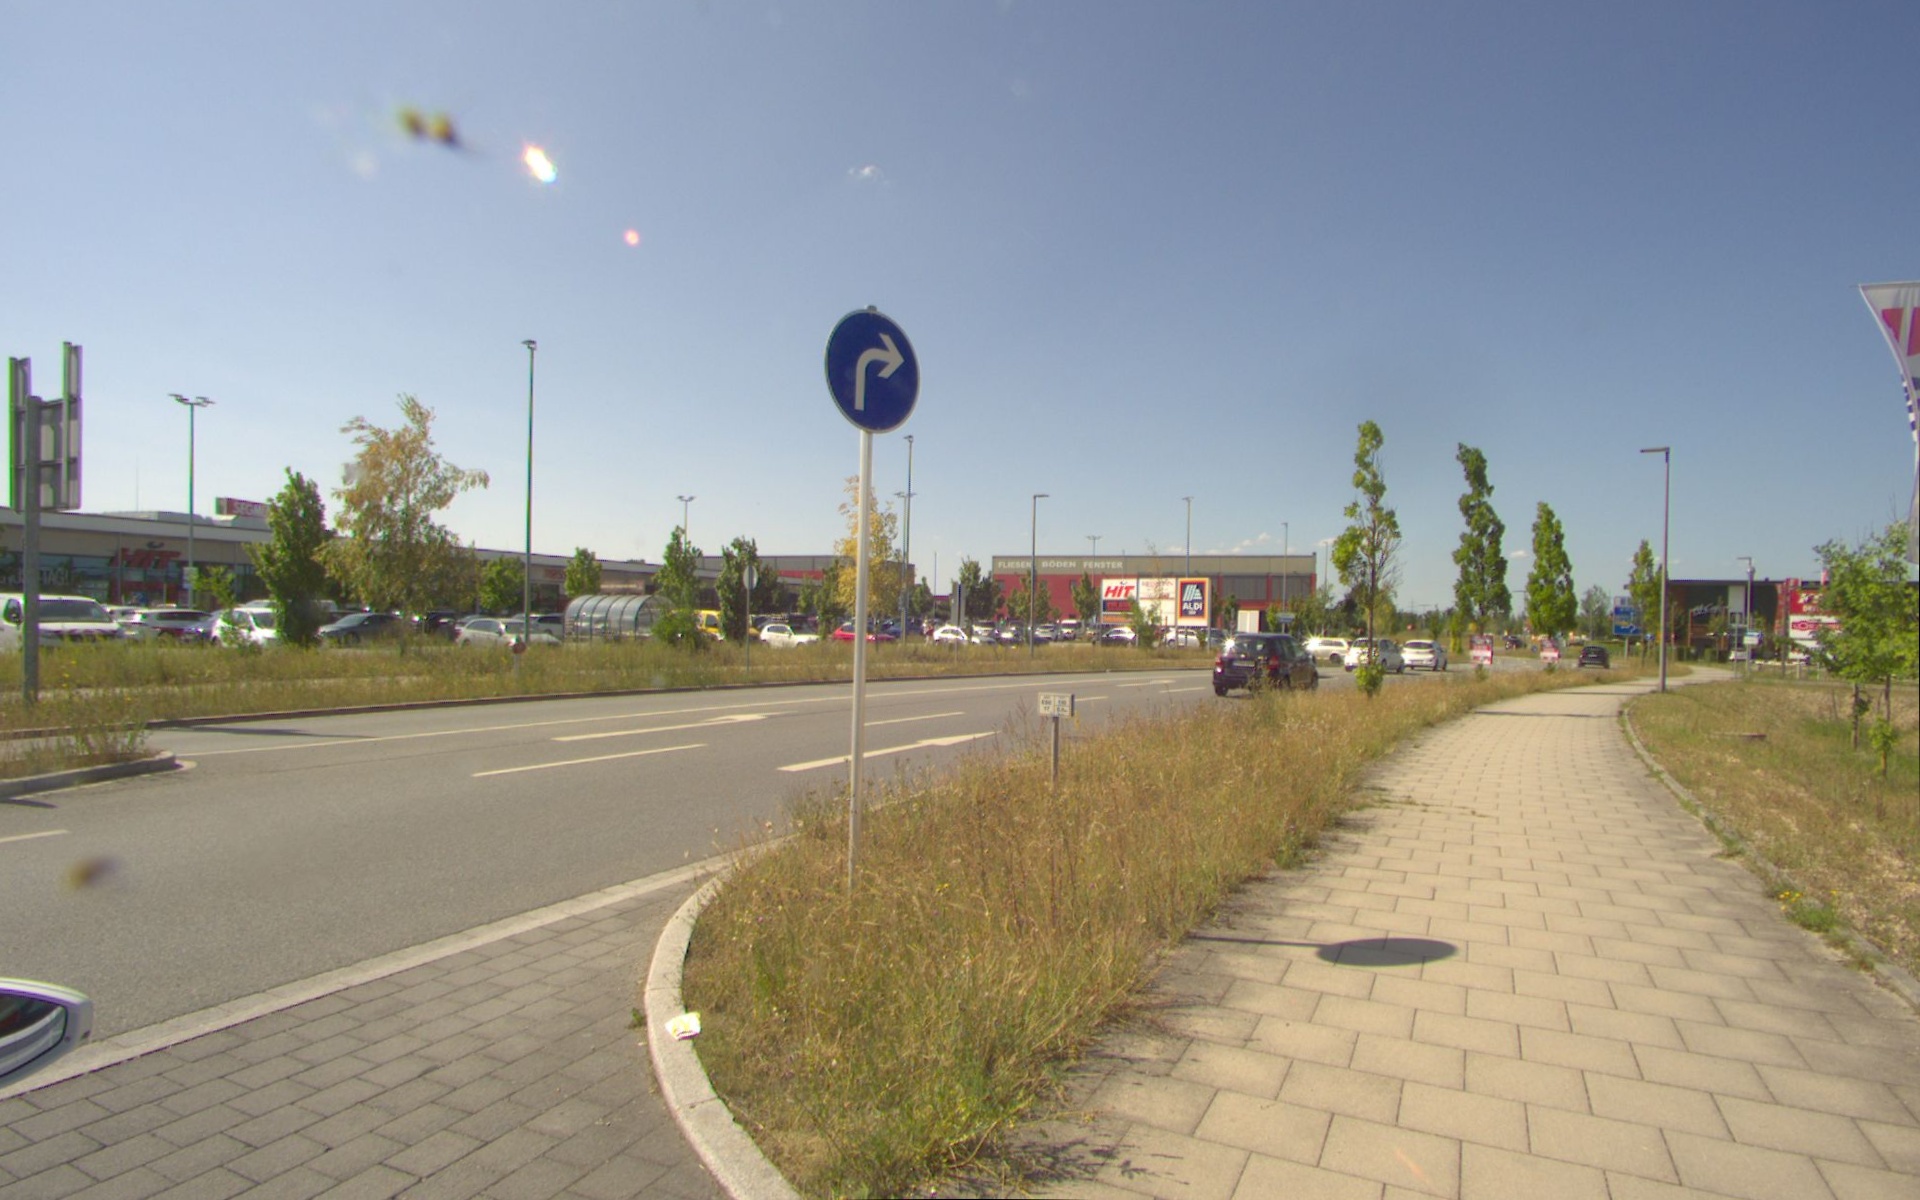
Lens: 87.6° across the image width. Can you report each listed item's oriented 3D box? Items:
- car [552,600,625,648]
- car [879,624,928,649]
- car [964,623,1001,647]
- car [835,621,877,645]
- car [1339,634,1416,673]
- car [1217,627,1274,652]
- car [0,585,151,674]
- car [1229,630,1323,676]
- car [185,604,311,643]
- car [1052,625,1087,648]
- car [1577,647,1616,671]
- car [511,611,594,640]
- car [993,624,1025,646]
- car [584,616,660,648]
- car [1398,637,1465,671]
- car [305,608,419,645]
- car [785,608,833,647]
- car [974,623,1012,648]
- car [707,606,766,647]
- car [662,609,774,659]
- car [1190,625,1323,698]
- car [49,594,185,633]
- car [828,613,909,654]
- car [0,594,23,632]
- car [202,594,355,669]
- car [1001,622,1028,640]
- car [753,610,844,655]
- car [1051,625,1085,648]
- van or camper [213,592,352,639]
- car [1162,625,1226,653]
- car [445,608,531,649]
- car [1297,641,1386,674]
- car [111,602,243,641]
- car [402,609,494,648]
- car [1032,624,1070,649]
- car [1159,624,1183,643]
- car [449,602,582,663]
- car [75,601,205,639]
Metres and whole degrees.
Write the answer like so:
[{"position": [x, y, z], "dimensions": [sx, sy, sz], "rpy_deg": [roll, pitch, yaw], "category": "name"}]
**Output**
[{"position": [-22.980, 1.521, 62.189], "dimensions": [1.963, 2.857, 4.481], "rpy_deg": [1, -1, 15], "category": "car"}, {"position": [-4.155, 2.708, 74.338], "dimensions": [1.965, 1.807, 4.307], "rpy_deg": [0, -2, 21], "category": "car"}, {"position": [2.123, 3.217, 92.207], "dimensions": [1.965, 2.064, 4.476], "rpy_deg": [0, -2, 21], "category": "car"}, {"position": [-9.363, 2.993, 90.764], "dimensions": [1.965, 2.064, 4.476], "rpy_deg": [0, -2, 21], "category": "car"}, {"position": [18.124, 2.292, 43.409], "dimensions": [3.747, 1.571, 1.724], "rpy_deg": [2, -2, -44], "category": "car"}, {"position": [24.792, 3.416, 86.987], "dimensions": [4.421, 2.064, 1.990], "rpy_deg": [0, -2, 33], "category": "car"}, {"position": [-22.881, 0.692, 25.249], "dimensions": [5.148, 2.040, 2.079], "rpy_deg": [1, -1, 29], "category": "car"}, {"position": [11.682, 1.916, 36.826], "dimensions": [1.721, 1.571, 4.536], "rpy_deg": [0, -2, 40], "category": "car"}, {"position": [-27.617, 0.915, 38.972], "dimensions": [1.701, 1.409, 3.726], "rpy_deg": [1, -1, 18], "category": "car"}, {"position": [9.896, 3.276, 90.131], "dimensions": [1.965, 2.064, 4.476], "rpy_deg": [0, -2, 21], "category": "car"}, {"position": [44.706, 4.119, 70.267], "dimensions": [1.890, 1.571, 4.359], "rpy_deg": [0, -2, 38], "category": "car"}, {"position": [-22.430, 1.418, 55.255], "dimensions": [1.627, 1.539, 4.340], "rpy_deg": [0, -2, 23], "category": "car"}, {"position": [4.959, 3.520, 100.814], "dimensions": [1.965, 2.064, 4.476], "rpy_deg": [0, -2, 21], "category": "car"}, {"position": [-20.492, 1.959, 60.948], "dimensions": [1.965, 1.887, 4.476], "rpy_deg": [0, -2, 21], "category": "car"}, {"position": [23.437, 2.665, 49.685], "dimensions": [1.923, 1.571, 4.727], "rpy_deg": [0, -2, 39], "category": "car"}, {"position": [-26.309, 1.170, 44.167], "dimensions": [1.843, 1.527, 3.991], "rpy_deg": [0, -2, 23], "category": "car"}, {"position": [-11.525, 2.140, 76.768], "dimensions": [1.963, 2.857, 4.481], "rpy_deg": [1, -1, 15], "category": "car"}, {"position": [2.883, 3.072, 87.002], "dimensions": [1.965, 2.064, 4.476], "rpy_deg": [0, -2, 21], "category": "car"}, {"position": [-16.062, 1.931, 72.196], "dimensions": [1.965, 2.857, 4.476], "rpy_deg": [0, -1, 21], "category": "car"}, {"position": [-10.800, 1.465, 44.508], "dimensions": [5.051, 2.040, 2.150], "rpy_deg": [1, -1, 38], "category": "car"}, {"position": [7.294, 1.433, 24.405], "dimensions": [1.973, 1.570, 3.820], "rpy_deg": [1, -1, 35], "category": "car"}, {"position": [-39.099, 0.658, 46.568], "dimensions": [1.843, 1.727, 4.474], "rpy_deg": [0, -2, 24], "category": "car"}, {"position": [-4.813, 1.736, 52.401], "dimensions": [4.089, 2.039, 1.869], "rpy_deg": [1, -1, 40], "category": "car"}, {"position": [-45.176, 0.567, 45.859], "dimensions": [3.934, 1.729, 1.994], "rpy_deg": [1, -1, 25], "category": "car"}, {"position": [-20.329, 0.873, 29.797], "dimensions": [5.047, 2.040, 2.152], "rpy_deg": [1, -1, 36], "category": "car"}, {"position": [6.754, 3.840, 124.021], "dimensions": [1.965, 2.064, 4.476], "rpy_deg": [0, -2, 21], "category": "car"}, {"position": [-7.877, 1.569, 48.615], "dimensions": [4.355, 2.039, 1.931], "rpy_deg": [1, -1, 38], "category": "car"}, {"position": [9.772, 3.275, 90.165], "dimensions": [1.965, 2.064, 4.476], "rpy_deg": [0, -2, 21], "category": "car"}, {"position": [-31.193, 0.710, 46.297], "dimensions": [1.966, 2.040, 5.039], "rpy_deg": [1, -1, 23], "category": "van or camper"}, {"position": [18.369, 3.063, 78.635], "dimensions": [4.421, 2.064, 1.990], "rpy_deg": [0, -2, 33], "category": "car"}, {"position": [-26.926, 1.630, 57.269], "dimensions": [1.963, 2.219, 4.481], "rpy_deg": [1, -2, 15], "category": "car"}, {"position": [22.130, 3.322, 58.220], "dimensions": [1.981, 1.737, 4.440], "rpy_deg": [2, -2, -44], "category": "car"}, {"position": [-30.390, 0.832, 38.992], "dimensions": [1.701, 1.409, 3.726], "rpy_deg": [1, -1, 18], "category": "car"}, {"position": [-29.779, 1.663, 58.369], "dimensions": [1.967, 2.129, 4.472], "rpy_deg": [0, -2, 25], "category": "car"}, {"position": [7.719, 3.072, 84.472], "dimensions": [1.965, 2.064, 4.476], "rpy_deg": [0, -2, 21], "category": "car"}, {"position": [24.596, 3.902, 116.748], "dimensions": [1.965, 2.064, 4.476], "rpy_deg": [0, -2, 21], "category": "car"}, {"position": [-16.191, 1.137, 36.411], "dimensions": [5.047, 2.040, 2.152], "rpy_deg": [1, -1, 36], "category": "car"}, {"position": [-33.024, 0.814, 40.427], "dimensions": [1.701, 1.409, 3.726], "rpy_deg": [1, -1, 18], "category": "car"}]
